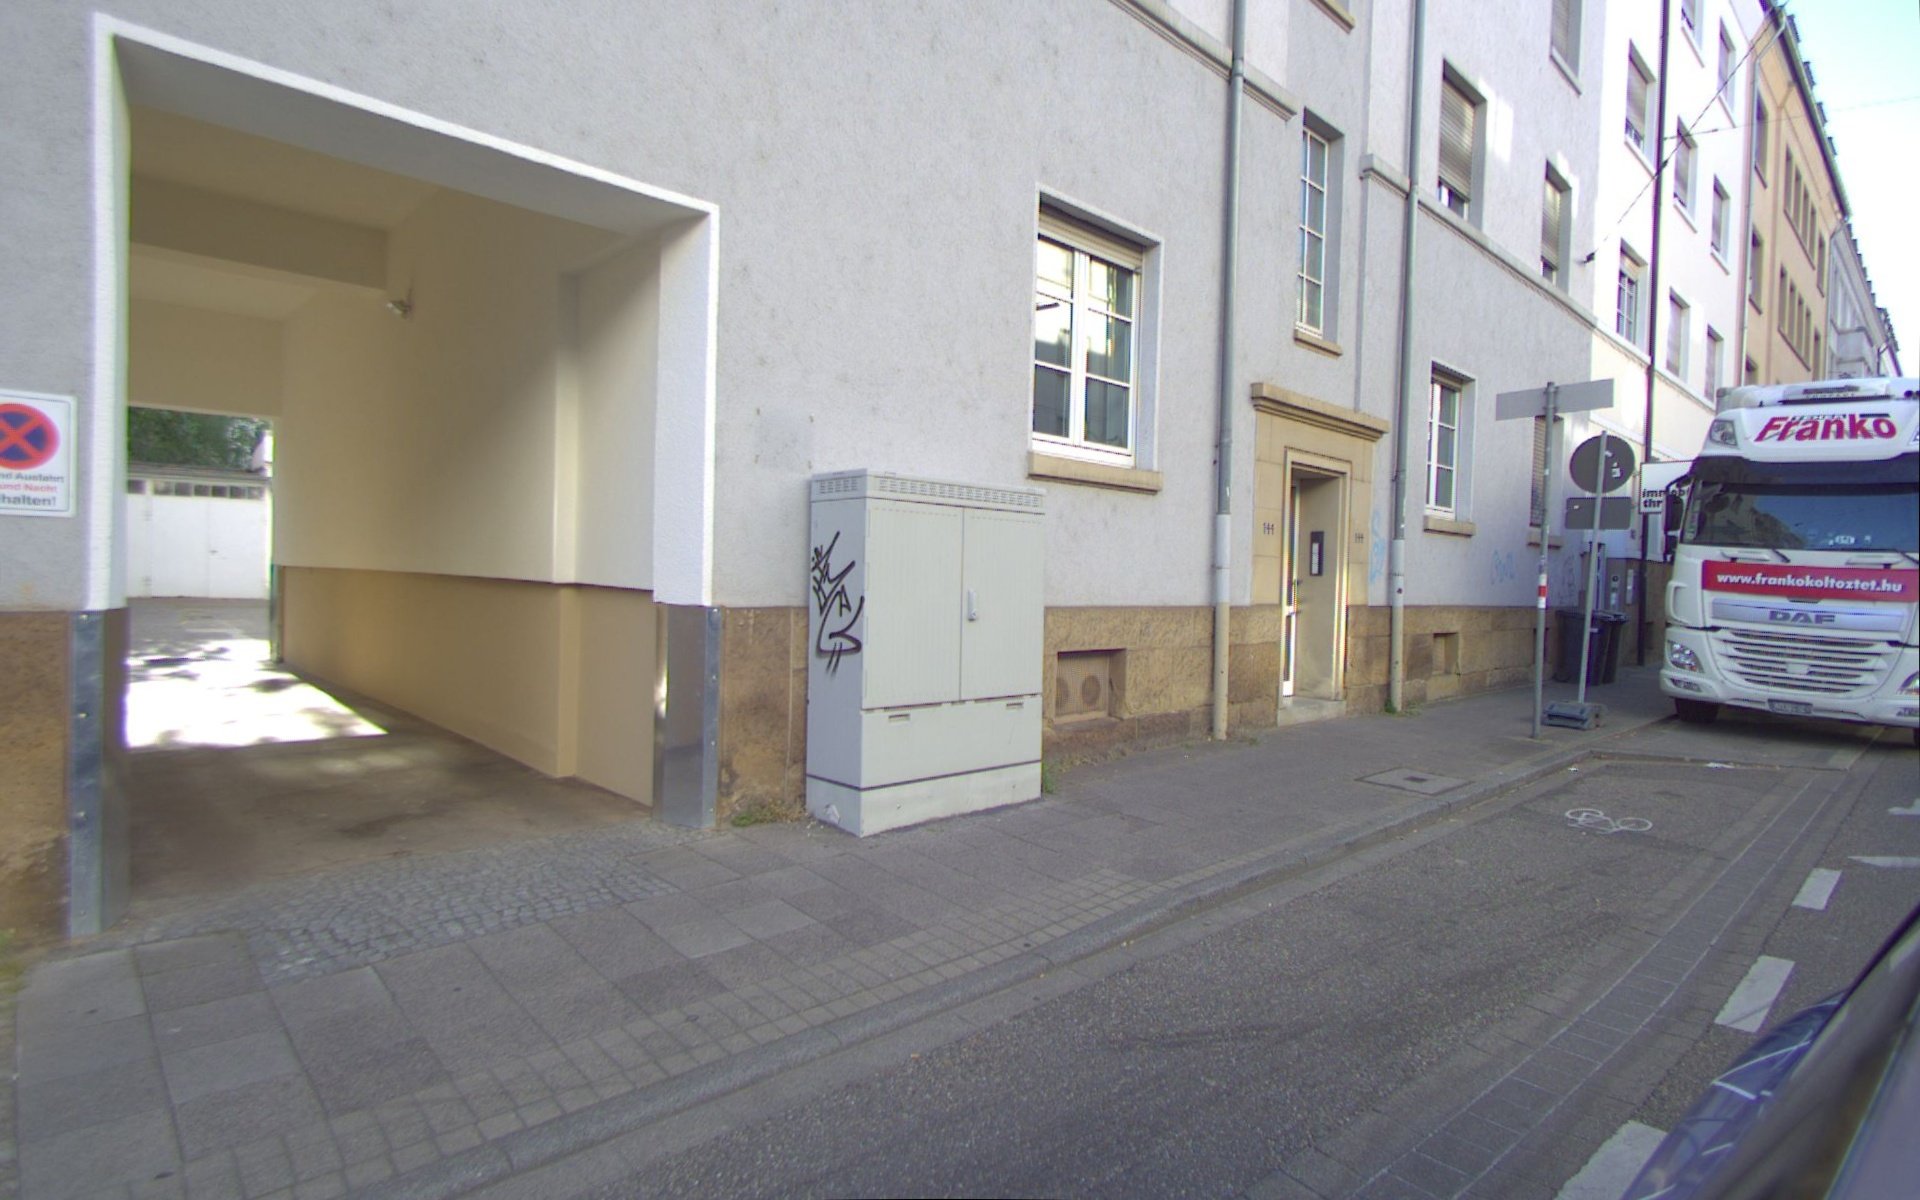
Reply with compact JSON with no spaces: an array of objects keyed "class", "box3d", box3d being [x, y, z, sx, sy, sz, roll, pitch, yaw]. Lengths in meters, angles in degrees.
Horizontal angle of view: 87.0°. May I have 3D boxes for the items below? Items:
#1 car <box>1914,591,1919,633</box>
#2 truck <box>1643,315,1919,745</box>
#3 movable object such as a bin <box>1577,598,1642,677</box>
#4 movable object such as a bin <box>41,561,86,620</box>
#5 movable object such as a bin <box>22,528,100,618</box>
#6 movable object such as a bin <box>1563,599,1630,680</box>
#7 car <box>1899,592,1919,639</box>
[{"class":"car","box3d":[37.688,0.461,38.647,4.080,1.551,1.681,0,0,-44]},{"class":"truck","box3d":[12.588,-0.681,13.897,11.621,3.975,2.778,0,2,-44]},{"class":"movable object such as a bin","box3d":[9.663,0.540,15.056,0.560,1.107,0.665,0,2,-43]},{"class":"movable object such as a bin","box3d":[-14.364,-0.155,16.216,0.518,0.922,0.580,0,2,-43]},{"class":"movable object such as a bin","box3d":[-15.140,-0.462,17.035,0.946,1.426,1.597,0,2,-43]},{"class":"movable object such as a bin","box3d":[9.184,0.548,14.605,0.560,1.107,0.665,0,2,-43]},{"class":"car","box3d":[33.518,0.529,34.750,4.080,1.551,1.681,0,0,-44]}]
